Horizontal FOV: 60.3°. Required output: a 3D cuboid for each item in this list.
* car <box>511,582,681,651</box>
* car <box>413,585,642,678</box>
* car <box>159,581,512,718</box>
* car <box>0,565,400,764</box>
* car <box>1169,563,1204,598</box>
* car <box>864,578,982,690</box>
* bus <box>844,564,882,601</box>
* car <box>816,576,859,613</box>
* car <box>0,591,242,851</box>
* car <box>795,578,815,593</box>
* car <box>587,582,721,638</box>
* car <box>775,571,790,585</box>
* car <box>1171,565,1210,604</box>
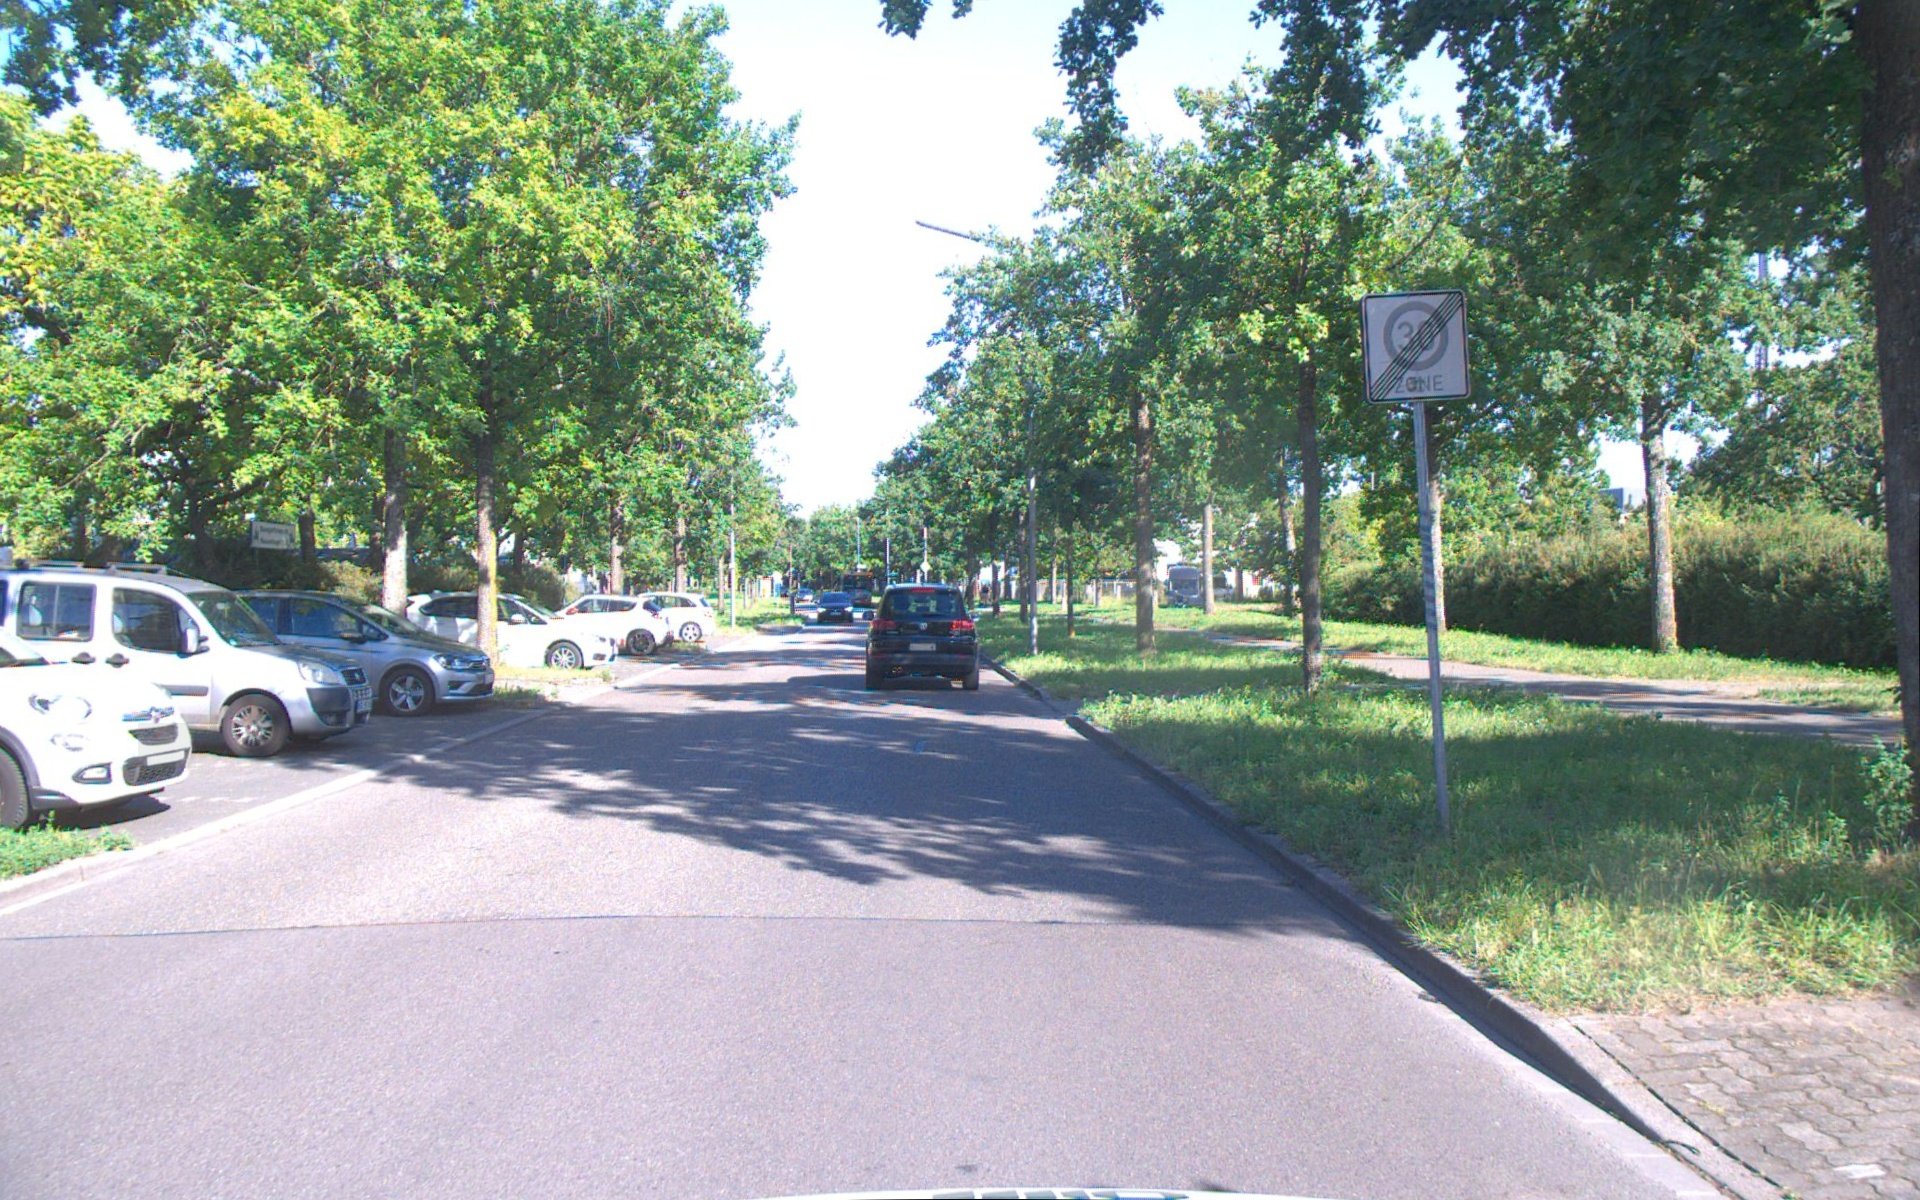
[{"bbox_3d":[-9.287,0.402,42.415,3.935,1.676,1.811,-1,1,-2],"label":"car"},{"bbox_3d":[-8.305,0.574,32.016,3.935,1.676,1.811,-1,1,-2],"label":"car"},{"bbox_3d":[-8.179,0.614,21.961,3.935,1.676,1.896,-1,1,-2],"label":"car"},{"bbox_3d":[-8.038,0.616,16.935,3.935,1.872,1.896,-1,1,-2],"label":"car"},{"bbox_3d":[13.664,-1.184,99.928,1.951,2.049,4.003,-1,0,6],"label":"car"},{"bbox_3d":[-0.661,0.495,27.300,1.801,1.665,3.956,0,1,-3],"label":"car"},{"bbox_3d":[-8.267,-1.471,141.433,2.869,3.056,5.736,-1,0,-1],"label":"bus"},{"bbox_3d":[-5.871,-0.284,79.796,1.815,1.722,3.955,-1,0,-1],"label":"car"},{"bbox_3d":[-7.541,0.808,11.585,4.156,1.651,1.896,-1,1,-2],"label":"car"},{"bbox_3d":[-16.201,-1.536,173.293,1.788,1.578,3.688,-1,1,-1],"label":"car"},{"bbox_3d":[-9.773,0.300,52.956,3.935,1.676,1.811,-1,1,-2],"label":"car"},{"bbox_3d":[-23.857,-2.956,222.832,1.780,1.806,3.775,-1,1,-3],"label":"car"},{"bbox_3d":[12.498,-0.852,89.827,2.010,2.049,4.003,-1,0,7],"label":"car"}]
